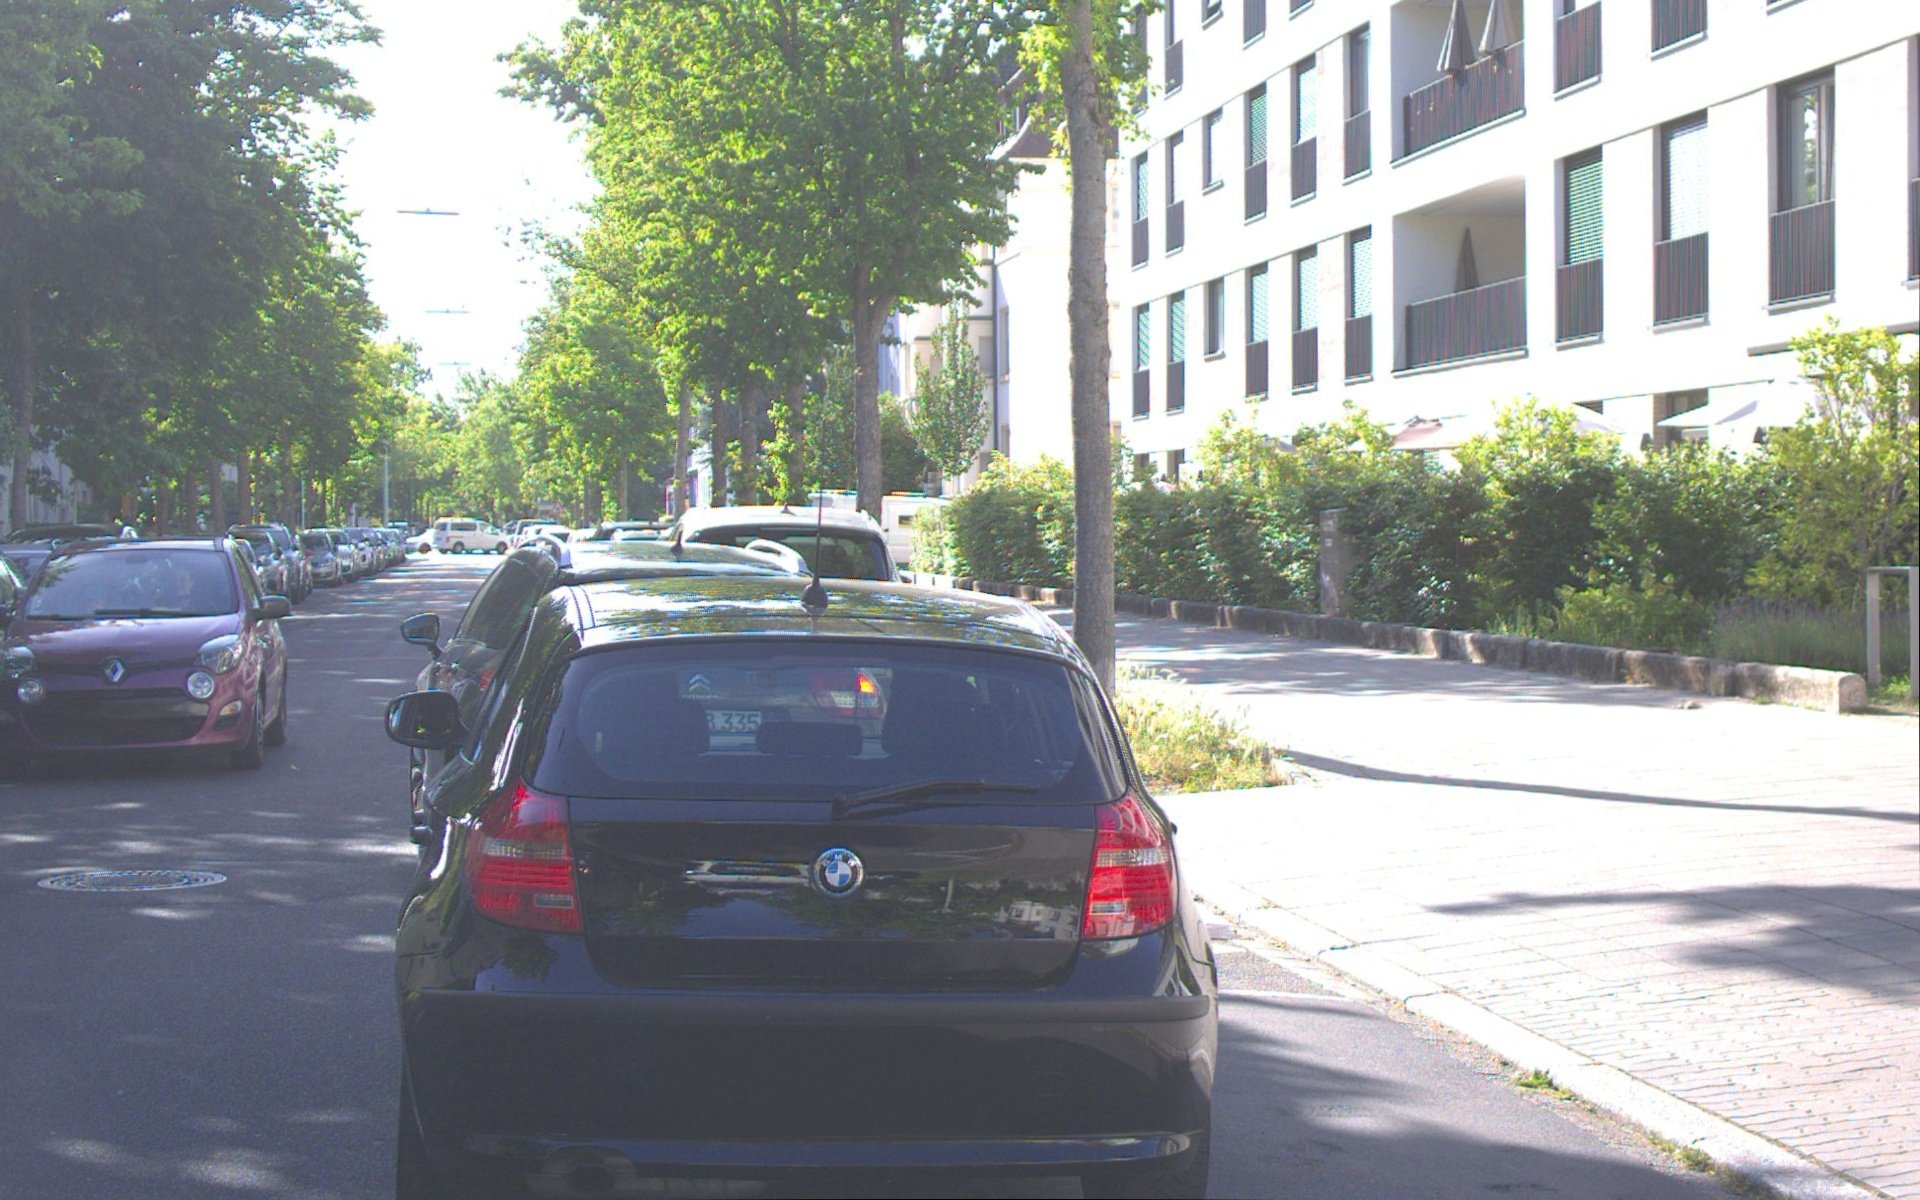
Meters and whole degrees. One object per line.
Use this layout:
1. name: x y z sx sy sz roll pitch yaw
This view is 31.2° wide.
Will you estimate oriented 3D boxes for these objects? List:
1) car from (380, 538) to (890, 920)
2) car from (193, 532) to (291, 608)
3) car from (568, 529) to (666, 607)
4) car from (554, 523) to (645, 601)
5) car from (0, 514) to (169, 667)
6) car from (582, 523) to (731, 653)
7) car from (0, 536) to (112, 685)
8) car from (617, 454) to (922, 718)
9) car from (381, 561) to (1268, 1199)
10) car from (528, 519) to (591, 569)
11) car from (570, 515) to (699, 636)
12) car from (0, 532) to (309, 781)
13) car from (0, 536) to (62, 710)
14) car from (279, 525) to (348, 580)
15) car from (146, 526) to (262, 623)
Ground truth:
1. car: -1.584 0.460 15.395 1.649 1.420 4.002 -1 2 -14
2. car: -14.020 -0.609 67.294 1.612 1.387 3.867 -2 2 -8
3. car: -6.449 -0.623 64.424 1.720 1.374 3.852 2 1 -7
4. car: -7.270 -0.778 69.145 1.720 1.475 3.852 2 1 -7
5. car: -10.424 -0.156 40.849 1.612 1.673 4.235 -2 2 -8
6. car: -3.879 -0.188 43.453 1.720 1.523 4.001 2 1 -7
7. car: -9.770 0.081 35.450 1.612 1.422 3.727 -2 2 -8
8. car: -1.394 -0.114 23.471 1.847 1.625 4.411 0 1 -6
9. car: -0.478 0.646 8.132 1.649 1.392 3.412 -1 2 -8
10. car: -12.104 -1.711 104.108 1.720 1.475 3.852 -1 1 -5
11. car: -4.715 -0.379 49.402 1.720 1.635 3.852 2 1 -7
12. car: -5.117 0.300 21.954 1.505 1.421 3.178 -1 2 -4
13. car: -9.025 0.176 30.409 1.612 1.422 4.059 -2 2 -8
14. car: -17.153 -1.286 91.298 1.612 1.387 3.867 -2 2 -8
15. car: -12.705 -0.460 57.927 1.612 1.537 3.867 -2 2 -8
